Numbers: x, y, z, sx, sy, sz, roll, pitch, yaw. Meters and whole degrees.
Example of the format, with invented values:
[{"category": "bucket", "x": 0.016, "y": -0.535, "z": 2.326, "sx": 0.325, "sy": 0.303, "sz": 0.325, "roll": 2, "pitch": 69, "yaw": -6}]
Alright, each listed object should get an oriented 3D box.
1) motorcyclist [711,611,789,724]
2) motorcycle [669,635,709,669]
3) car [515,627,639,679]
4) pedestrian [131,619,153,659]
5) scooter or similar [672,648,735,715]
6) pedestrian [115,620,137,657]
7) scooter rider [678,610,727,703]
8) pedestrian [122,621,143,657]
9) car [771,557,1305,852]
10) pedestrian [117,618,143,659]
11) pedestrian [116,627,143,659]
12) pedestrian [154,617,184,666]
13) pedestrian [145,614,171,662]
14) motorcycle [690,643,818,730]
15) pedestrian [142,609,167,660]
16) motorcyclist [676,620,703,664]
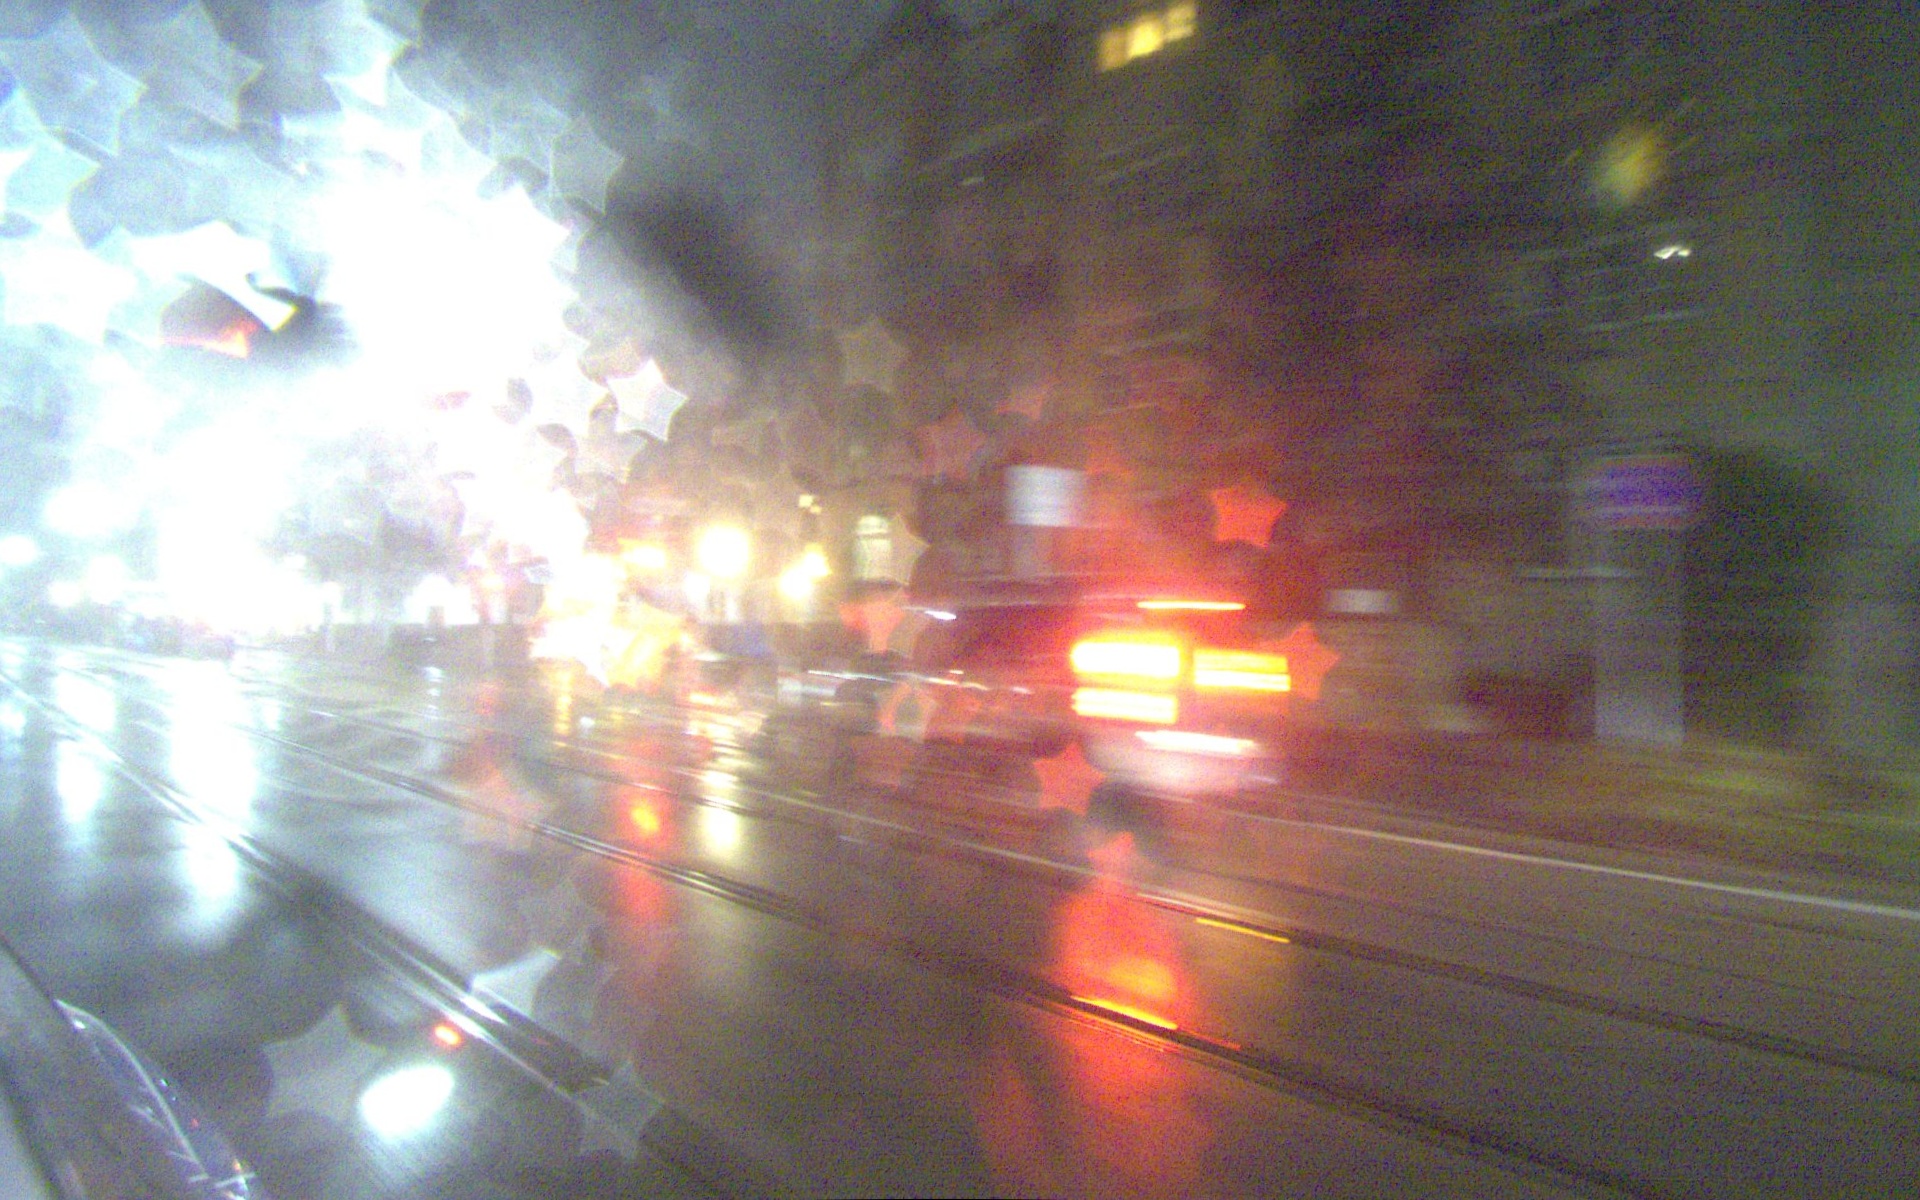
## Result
[{"category": "motorcyclist", "x": -3.367, "y": 1.064, "z": 16.218, "sx": 1.028, "sy": 1.744, "sz": 0.700, "roll": 0, "pitch": -3, "yaw": 41}, {"category": "motorcycle", "x": -10.817, "y": 2.069, "z": 40.492, "sx": 0.782, "sy": 1.222, "sz": 2.245, "roll": 0, "pitch": 0, "yaw": 7}, {"category": "car", "x": -12.444, "y": 1.675, "z": 33.114, "sx": 1.911, "sy": 1.527, "sz": 3.573, "roll": 0, "pitch": -1, "yaw": 21}, {"category": "pedestrian", "x": -33.565, "y": 1.592, "z": 41.522, "sx": 0.525, "sy": 1.641, "sz": 0.400, "roll": -1, "pitch": 1, "yaw": 1}, {"category": "scooter or similar", "x": -4.596, "y": 1.429, "z": 18.090, "sx": 0.631, "sy": 1.060, "sz": 1.372, "roll": -2, "pitch": 1, "yaw": -36}, {"category": "pedestrian", "x": -35.829, "y": 1.654, "z": 43.482, "sx": 0.572, "sy": 1.559, "sz": 0.507, "roll": -1, "pitch": 1, "yaw": 26}, {"category": "scooter rider", "x": -4.607, "y": 0.993, "z": 18.121, "sx": 0.631, "sy": 1.585, "sz": 0.654, "roll": -2, "pitch": 1, "yaw": -36}, {"category": "pedestrian", "x": -35.318, "y": 1.656, "z": 43.196, "sx": 0.583, "sy": 1.539, "sz": 0.475, "roll": -1, "pitch": 1, "yaw": 26}, {"category": "car", "x": 0.415, "y": 0.728, "z": 8.774, "sx": 1.872, "sy": 1.883, "sz": 4.540, "roll": 3, "pitch": -3, "yaw": -43}, {"category": "pedestrian", "x": -34.202, "y": 1.578, "z": 41.682, "sx": 0.552, "sy": 1.664, "sz": 0.585, "roll": -1, "pitch": 1, "yaw": 0}, {"category": "pedestrian", "x": -34.702, "y": 1.791, "z": 42.290, "sx": 0.616, "sy": 1.263, "sz": 0.585, "roll": -1, "pitch": 1, "yaw": 0}, {"category": "pedestrian", "x": -29.650, "y": 1.530, "z": 37.920, "sx": 0.715, "sy": 1.787, "sz": 0.663, "roll": -1, "pitch": 1, "yaw": 34}, {"category": "pedestrian", "x": -31.229, "y": 1.467, "z": 39.395, "sx": 0.706, "sy": 1.787, "sz": 0.671, "roll": -2, "pitch": 1, "yaw": -44}, {"category": "motorcycle", "x": -3.317, "y": 1.346, "z": 16.155, "sx": 2.324, "sy": 1.239, "sz": 0.700, "roll": 0, "pitch": -3, "yaw": 41}, {"category": "pedestrian", "x": -32.349, "y": 1.357, "z": 40.636, "sx": 0.858, "sy": 2.001, "sz": 0.601, "roll": 0, "pitch": 1, "yaw": 41}, {"category": "motorcyclist", "x": -10.811, "y": 1.673, "z": 40.483, "sx": 0.782, "sy": 1.707, "sz": 0.818, "roll": 0, "pitch": 0, "yaw": 8}]
